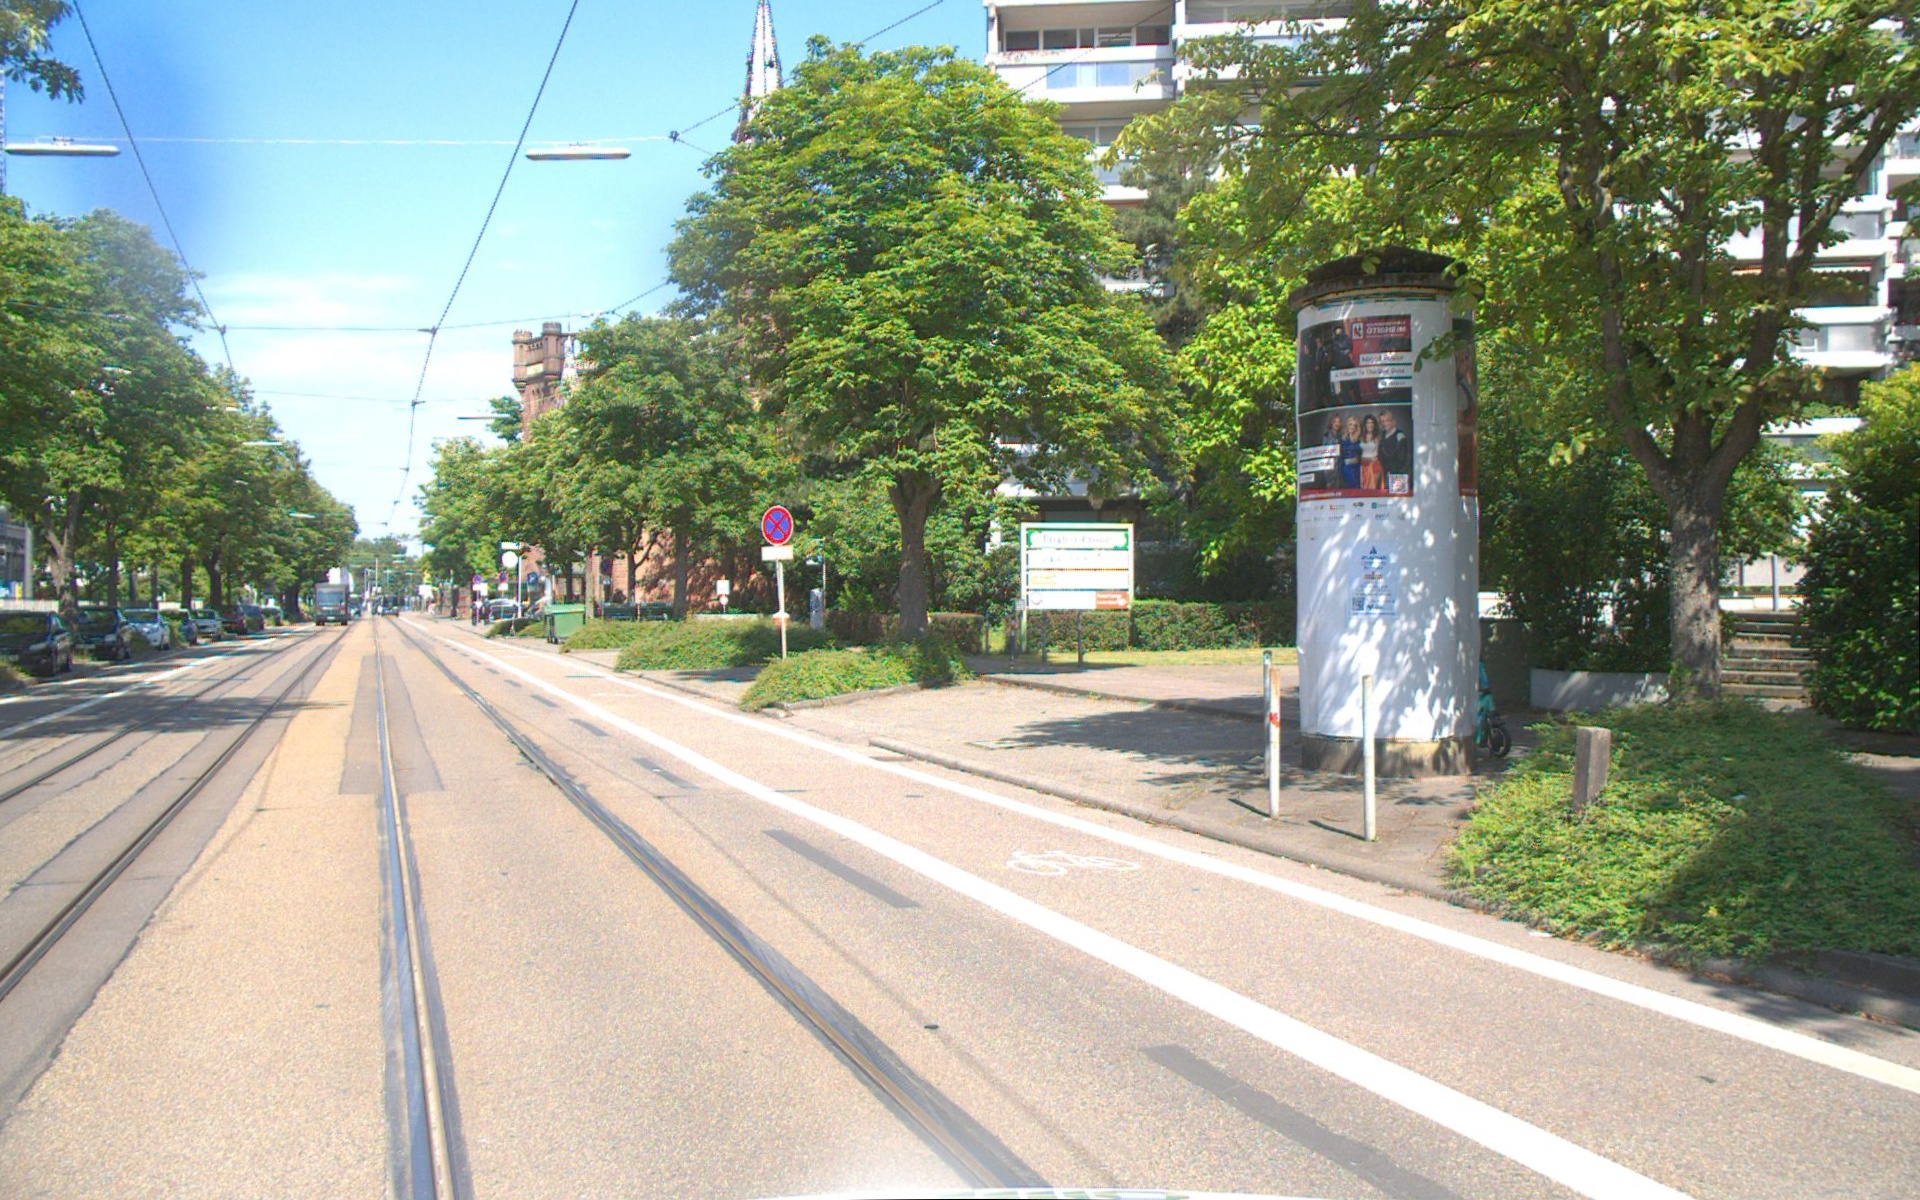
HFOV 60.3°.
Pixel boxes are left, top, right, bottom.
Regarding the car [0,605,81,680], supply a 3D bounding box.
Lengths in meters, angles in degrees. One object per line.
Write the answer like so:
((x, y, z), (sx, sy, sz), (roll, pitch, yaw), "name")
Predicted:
((-22.183, 0.951, 38.858), (1.962, 1.668, 3.980), (0, 0, -17), "car")

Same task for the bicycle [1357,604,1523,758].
((4.369, 0.702, 15.166), (0.538, 1.331, 1.608), (0, 0, -25), "bicycle")

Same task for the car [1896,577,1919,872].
((5.507, 0.657, 7.350), (1.777, 1.634, 3.945), (-3, -1, 22), "car")

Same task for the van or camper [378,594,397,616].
((-69.436, 0.610, 200.430), (2.015, 2.665, 5.825), (0, 0, -21), "van or camper")

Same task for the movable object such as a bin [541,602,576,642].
((-15.059, 0.836, 62.071), (1.241, 1.479, 1.075), (0, 0, -15), "movable object such as a bin")

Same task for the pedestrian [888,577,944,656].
((-1.056, 0.390, 39.422), (1.040, 1.829, 1.259), (1, -1, -16), "pedestrian")

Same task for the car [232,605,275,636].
((-39.556, 1.127, 92.659), (1.964, 1.668, 3.976), (0, 0, -20), "car")

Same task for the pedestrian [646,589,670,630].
((-13.966, 0.436, 76.503), (1.038, 1.829, 1.261), (1, -1, -12), "pedestrian")

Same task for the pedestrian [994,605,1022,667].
((0.924, 0.691, 31.914), (0.521, 1.174, 0.701), (0, 0, 2), "pedestrian")

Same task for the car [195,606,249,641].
((-35.816, 1.131, 80.389), (1.917, 1.668, 3.980), (0, 0, -17), "car")

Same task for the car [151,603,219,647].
((-31.678, 0.989, 67.698), (1.962, 1.668, 3.980), (-2, 0, -17), "car")

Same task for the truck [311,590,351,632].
((-45.811, 0.766, 120.560), (2.520, 2.990, 5.050), (0, 0, -19), "truck")

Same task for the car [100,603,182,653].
((-29.080, 0.974, 58.857), (1.962, 1.668, 3.980), (-1, 0, -17), "car")

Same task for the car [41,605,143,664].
((-25.609, 0.978, 48.931), (1.962, 1.668, 3.980), (0, 0, -17), "car")
